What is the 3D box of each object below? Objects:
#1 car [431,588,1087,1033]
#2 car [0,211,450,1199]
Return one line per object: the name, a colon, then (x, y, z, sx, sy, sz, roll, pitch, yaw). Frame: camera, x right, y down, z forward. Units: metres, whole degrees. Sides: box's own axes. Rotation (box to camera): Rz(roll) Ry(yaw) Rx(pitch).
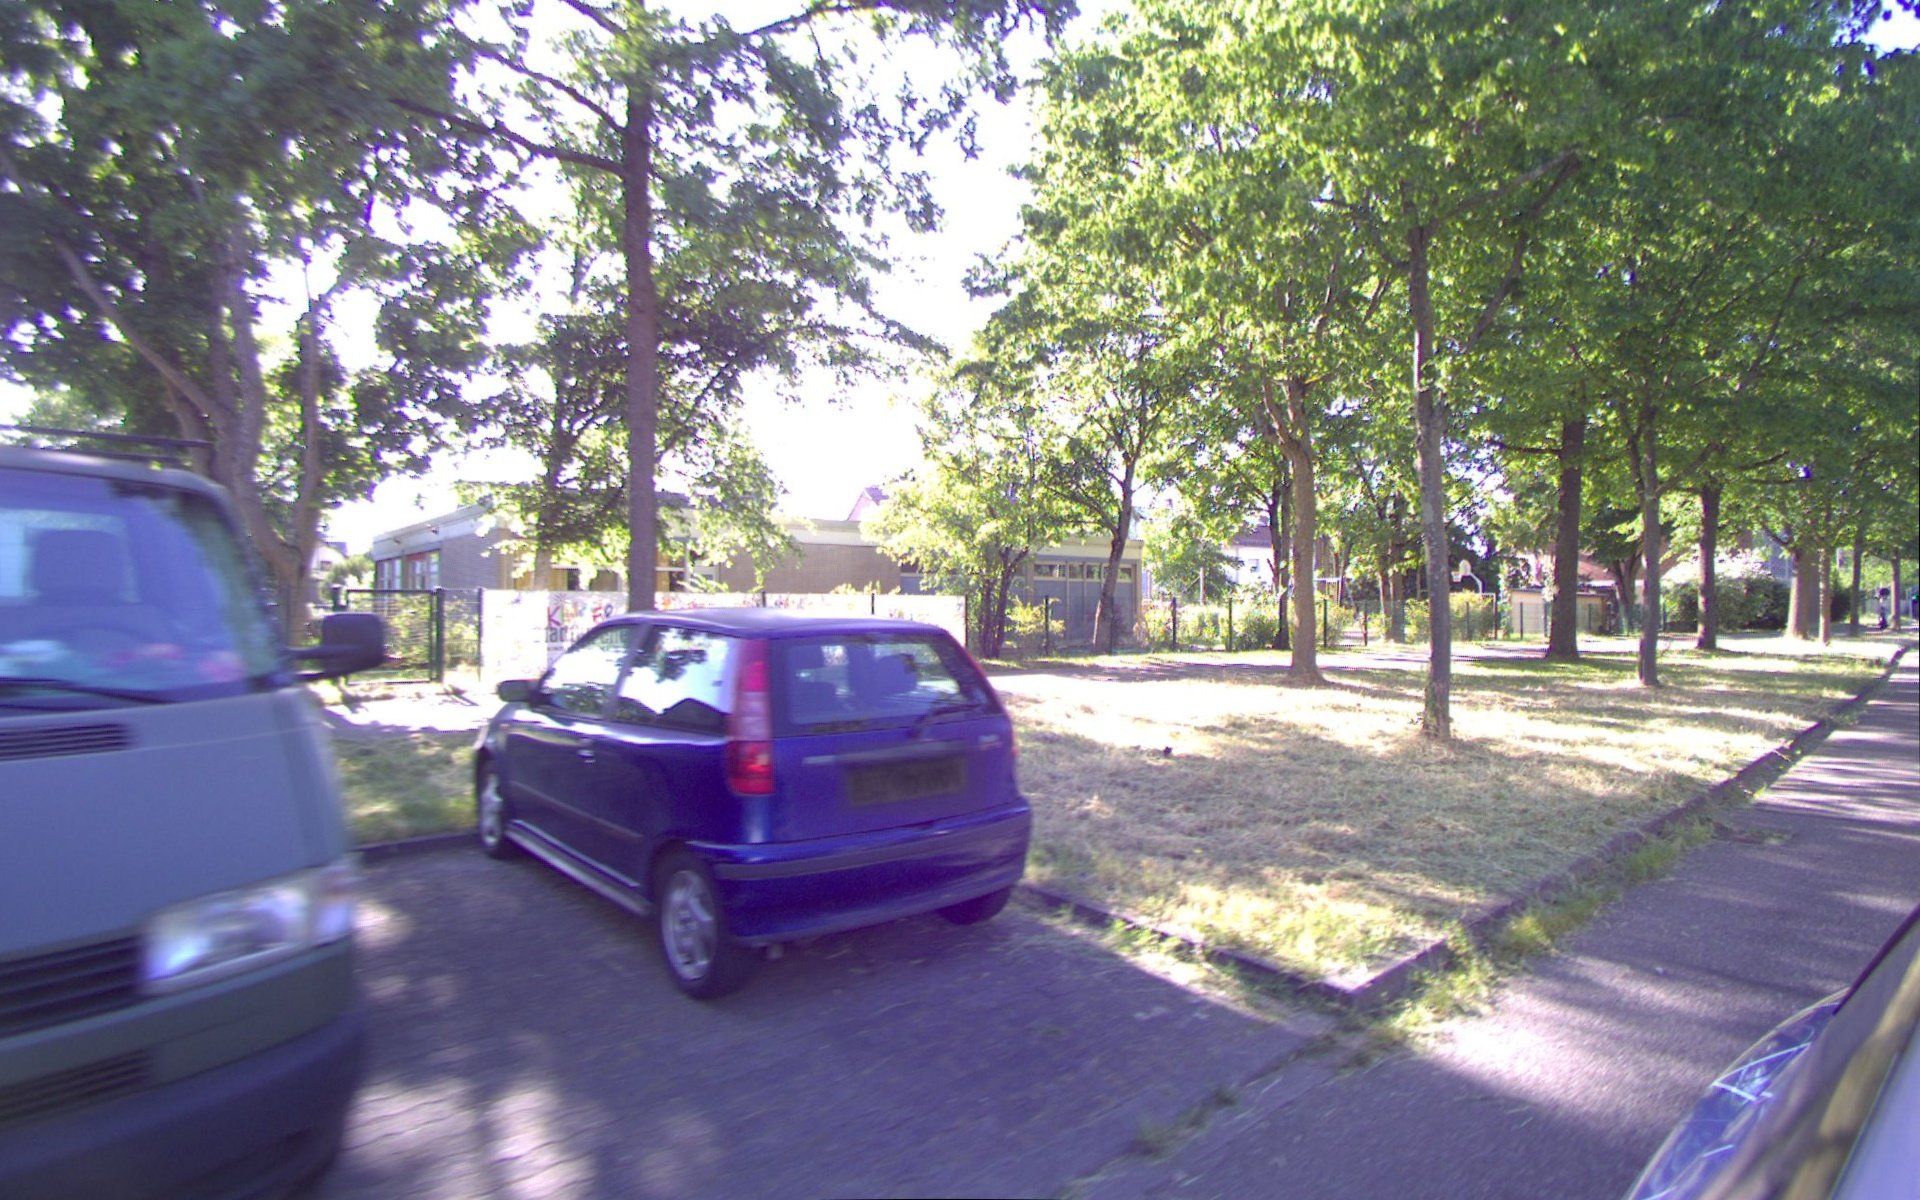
car: (-1.382, 0.669, 5.393, 1.709, 1.421, 3.996, 0, 1, -40)
car: (-3.332, 0.357, 3.294, 1.910, 2.057, 4.812, 0, 1, -40)
